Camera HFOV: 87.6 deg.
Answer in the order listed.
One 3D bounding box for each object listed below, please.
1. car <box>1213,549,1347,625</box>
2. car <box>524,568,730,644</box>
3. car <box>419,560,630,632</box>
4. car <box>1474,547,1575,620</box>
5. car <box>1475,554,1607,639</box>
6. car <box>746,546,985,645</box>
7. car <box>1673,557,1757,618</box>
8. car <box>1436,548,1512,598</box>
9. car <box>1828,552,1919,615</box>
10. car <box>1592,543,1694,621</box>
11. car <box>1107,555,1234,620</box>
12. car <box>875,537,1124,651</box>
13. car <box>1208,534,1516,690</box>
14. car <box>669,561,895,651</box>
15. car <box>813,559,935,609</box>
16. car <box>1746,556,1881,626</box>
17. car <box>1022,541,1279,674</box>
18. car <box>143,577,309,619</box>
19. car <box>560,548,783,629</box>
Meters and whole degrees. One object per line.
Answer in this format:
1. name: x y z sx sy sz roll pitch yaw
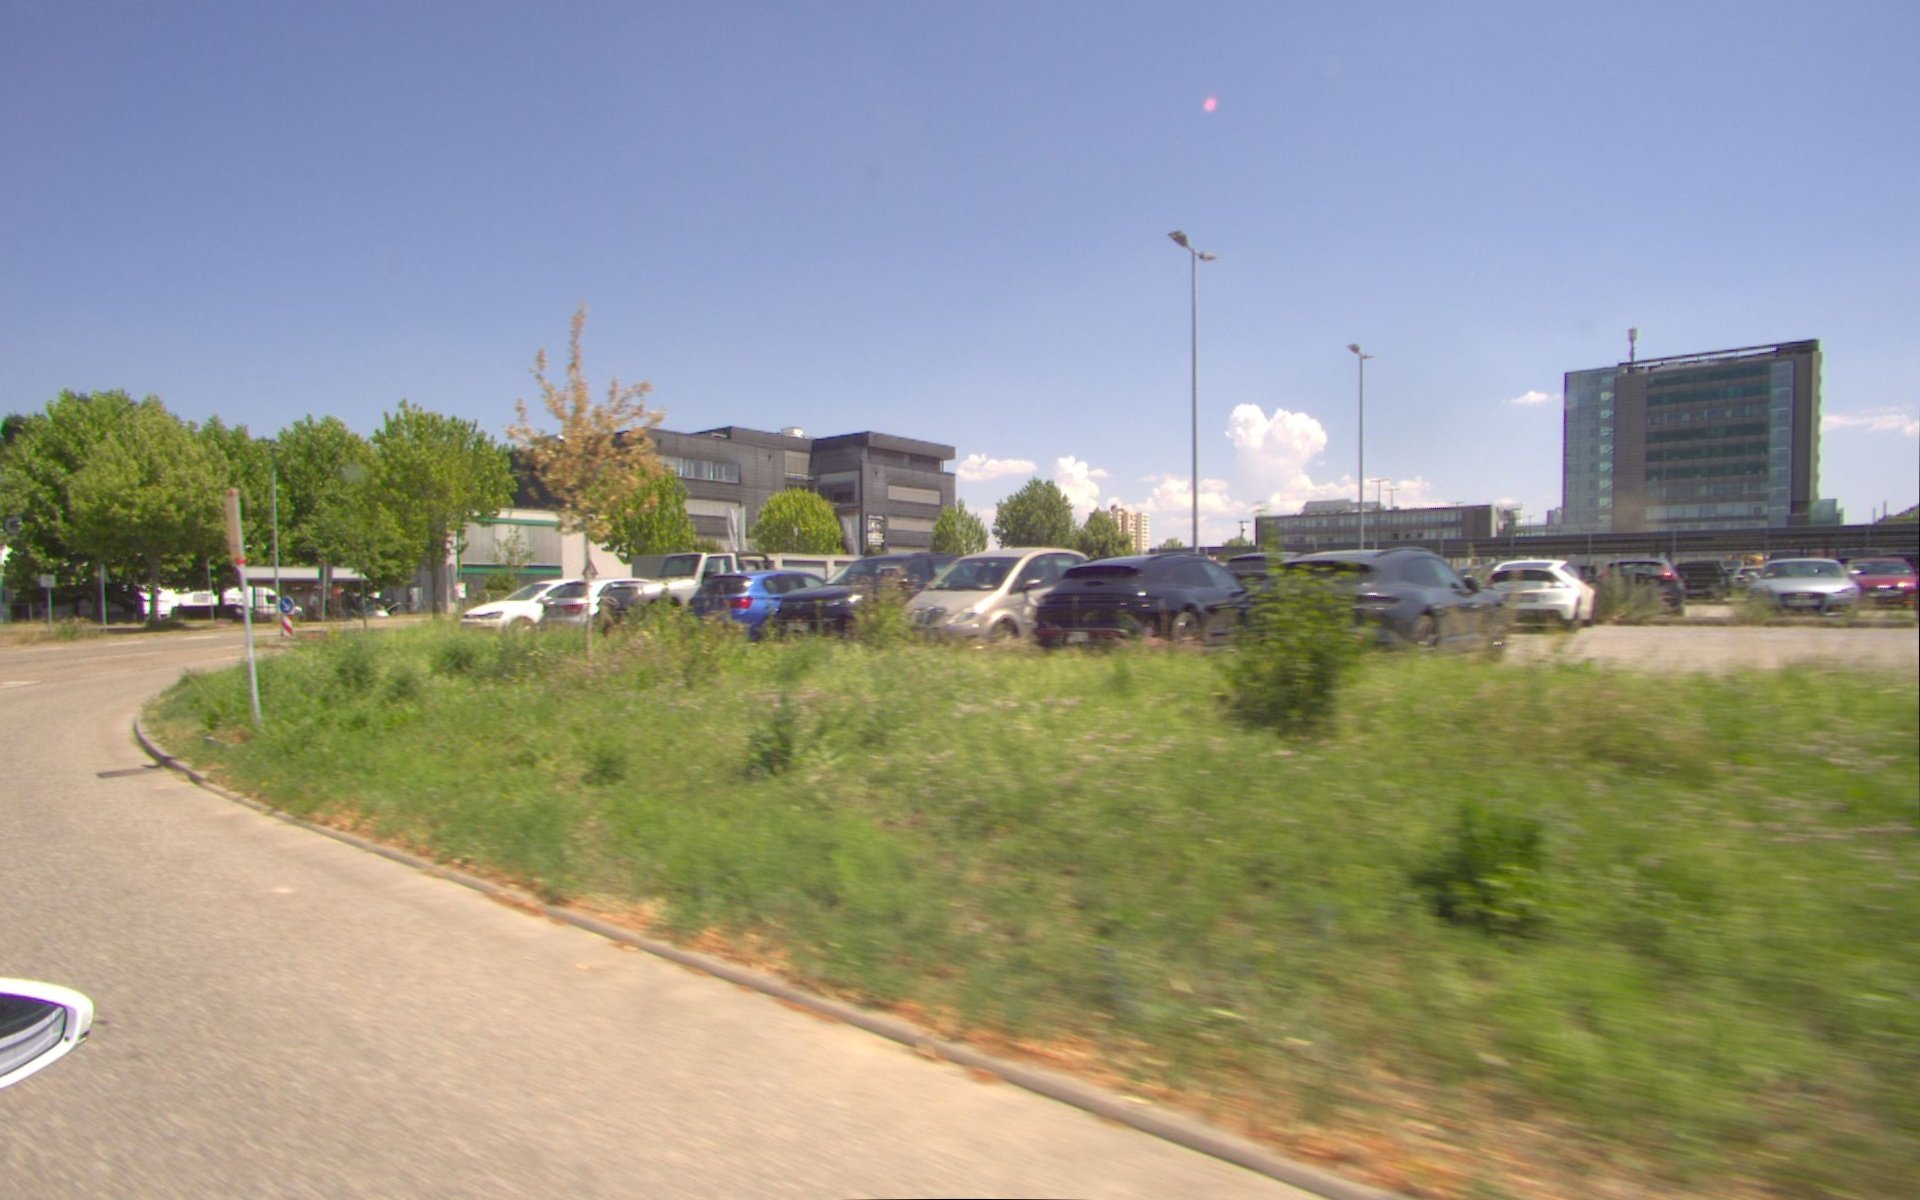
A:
1. car: 7.328 -0.364 22.701 1.744 1.511 3.973 4 5 35
2. car: -7.265 0.057 22.227 1.744 1.420 4.148 4 4 35
3. car: -9.832 -0.175 22.926 1.744 1.420 4.148 4 4 35
4. car: 14.167 -0.473 25.031 1.744 1.619 3.973 4 5 35
5. car: 11.422 -0.152 19.568 1.745 1.420 3.972 4 5 36
6. car: -1.459 -0.164 16.912 1.744 1.420 4.148 4 4 35
7. car: 22.406 -0.437 29.840 1.744 1.619 3.973 4 5 35
8. car: 18.000 -0.977 35.004 1.744 1.619 3.973 4 5 35
9. car: 25.850 -0.503 28.082 1.744 1.619 3.973 4 5 35
10. car: 16.019 -0.482 23.504 1.744 1.619 3.973 4 5 35
11. car: 5.481 -0.388 25.724 1.744 1.482 3.973 4 5 35
12. car: 0.728 -0.178 14.989 1.744 1.420 4.148 4 4 35
13. car: 4.865 0.007 11.692 1.898 1.420 4.680 5 5 40
14. car: -3.209 0.014 18.760 1.744 1.420 4.148 4 4 35
15. car: -2.674 -0.551 31.888 1.744 1.420 3.973 4 5 35
16. car: 18.134 -0.264 21.458 1.744 1.289 3.973 4 4 35
17. car: 2.652 -0.018 13.205 1.744 1.420 4.148 4 4 35
18. car: -40.497 -0.153 55.491 1.977 2.116 7.133 0 1 41
19. car: -5.685 -0.309 20.188 1.744 1.420 4.148 4 4 35
